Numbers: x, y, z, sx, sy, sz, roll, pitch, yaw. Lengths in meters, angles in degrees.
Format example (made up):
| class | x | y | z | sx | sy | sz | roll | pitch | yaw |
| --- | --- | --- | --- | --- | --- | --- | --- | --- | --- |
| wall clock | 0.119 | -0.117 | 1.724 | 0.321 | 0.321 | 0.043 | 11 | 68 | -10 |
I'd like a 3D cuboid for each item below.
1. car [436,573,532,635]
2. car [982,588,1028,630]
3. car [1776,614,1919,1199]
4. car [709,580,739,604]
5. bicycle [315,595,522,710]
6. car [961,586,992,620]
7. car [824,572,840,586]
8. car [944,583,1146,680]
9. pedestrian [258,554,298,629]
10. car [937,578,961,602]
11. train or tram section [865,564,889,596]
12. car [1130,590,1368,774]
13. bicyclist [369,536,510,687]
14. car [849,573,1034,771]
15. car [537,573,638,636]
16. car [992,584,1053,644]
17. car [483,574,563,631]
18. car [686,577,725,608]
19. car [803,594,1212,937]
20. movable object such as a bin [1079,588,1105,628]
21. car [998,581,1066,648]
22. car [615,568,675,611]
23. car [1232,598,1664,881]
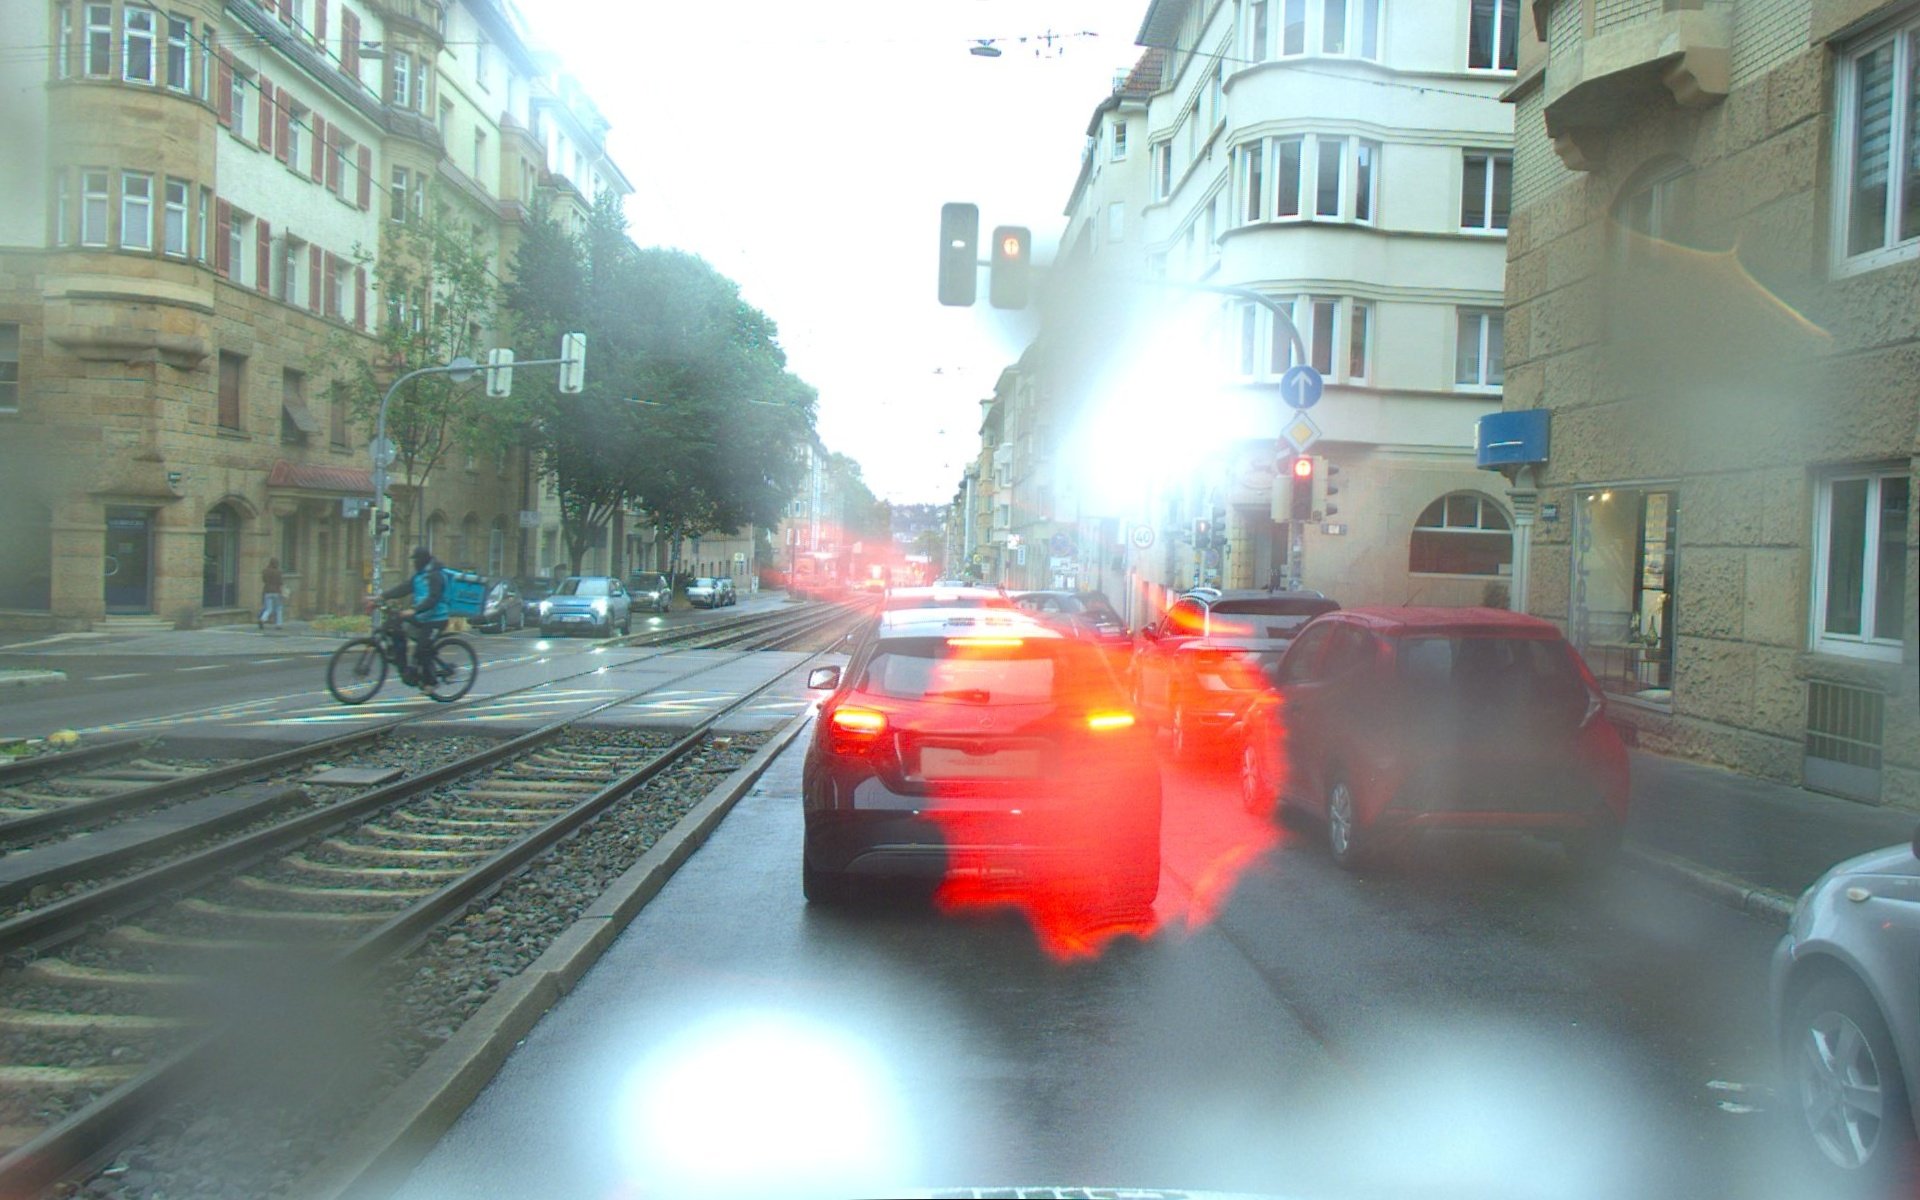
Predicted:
| class | x | y | z | sx | sy | sz | roll | pitch | yaw |
| --- | --- | --- | --- | --- | --- | --- | --- | --- | --- |
| car | -13.021 | 0.112 | 45.459 | 1.718 | 1.579 | 4.032 | 1 | 0 | -4 |
| car | 1.655 | 0.317 | 61.512 | 1.513 | 1.512 | 3.547 | 1 | 0 | -1 |
| car | 3.115 | 0.792 | 3.065 | 1.581 | 1.493 | 3.312 | 0 | 0 | 0 |
| car | -14.032 | -0.465 | 98.335 | 1.419 | 1.354 | 3.270 | 1 | 0 | -3 |
| bicycle | -5.983 | 0.565 | 18.344 | 2.019 | 1.207 | 0.814 | 1 | -1 | -41 |
| car | 0.715 | 0.120 | 73.570 | 1.268 | 1.467 | 2.928 | 1 | 0 | -1 |
| car | -12.274 | -1.973 | 158.431 | 1.349 | 1.271 | 3.296 | 1 | 0 | -2 |
| car | 1.548 | 0.554 | 30.922 | 3.621 | 1.664 | 1.540 | 2 | 0 | 43 |
| pedestrian | -15.644 | -0.195 | 37.976 | 0.618 | 1.702 | 0.702 | 1 | -1 | -3 |
| car | -0.912 | -0.797 | 137.625 | 1.953 | 1.909 | 3.999 | 1 | 0 | -1 |
| train or tram section | -10.543 | -2.484 | 211.076 | 2.726 | 3.928 | 10.427 | 1 | 0 | -1 |
| car | 2.622 | 0.678 | 15.759 | 1.513 | 1.512 | 3.829 | 1 | 0 | -1 |
| bicyclist | -5.814 | 0.130 | 18.496 | 1.242 | 1.625 | 0.874 | 1 | -1 | -41 |
| car | -0.185 | 0.617 | 15.798 | 1.533 | 1.637 | 3.813 | 1 | 0 | -1 |
| car | -10.056 | 0.131 | 44.890 | 1.860 | 1.615 | 3.972 | 1 | 0 | -1 |
| car | 1.760 | 0.371 | 47.103 | 1.513 | 1.618 | 3.547 | 1 | 0 | -1 |
| car | -13.285 | 0.093 | 50.486 | 1.683 | 1.639 | 3.914 | 1 | 0 | -5 |
| car | -13.665 | -0.407 | 88.930 | 1.557 | 1.608 | 3.917 | 1 | 0 | -1 |
| car | 0.182 | 0.733 | 9.415 | 1.792 | 1.483 | 4.103 | 1 | 0 | -1 |
| movable object such as a bin | 4.755 | 0.296 | 59.607 | 0.859 | 1.413 | 0.983 | 1 | -1 | 3 |
| car | 1.830 | 0.345 | 42.630 | 1.513 | 1.618 | 3.547 | 1 | 0 | -1 |
| car | -13.570 | -0.433 | 71.469 | 1.837 | 1.767 | 3.917 | 1 | 0 | -1 |
| car | 2.897 | 0.751 | 10.524 | 1.609 | 1.473 | 3.297 | 1 | 0 | -3 |
